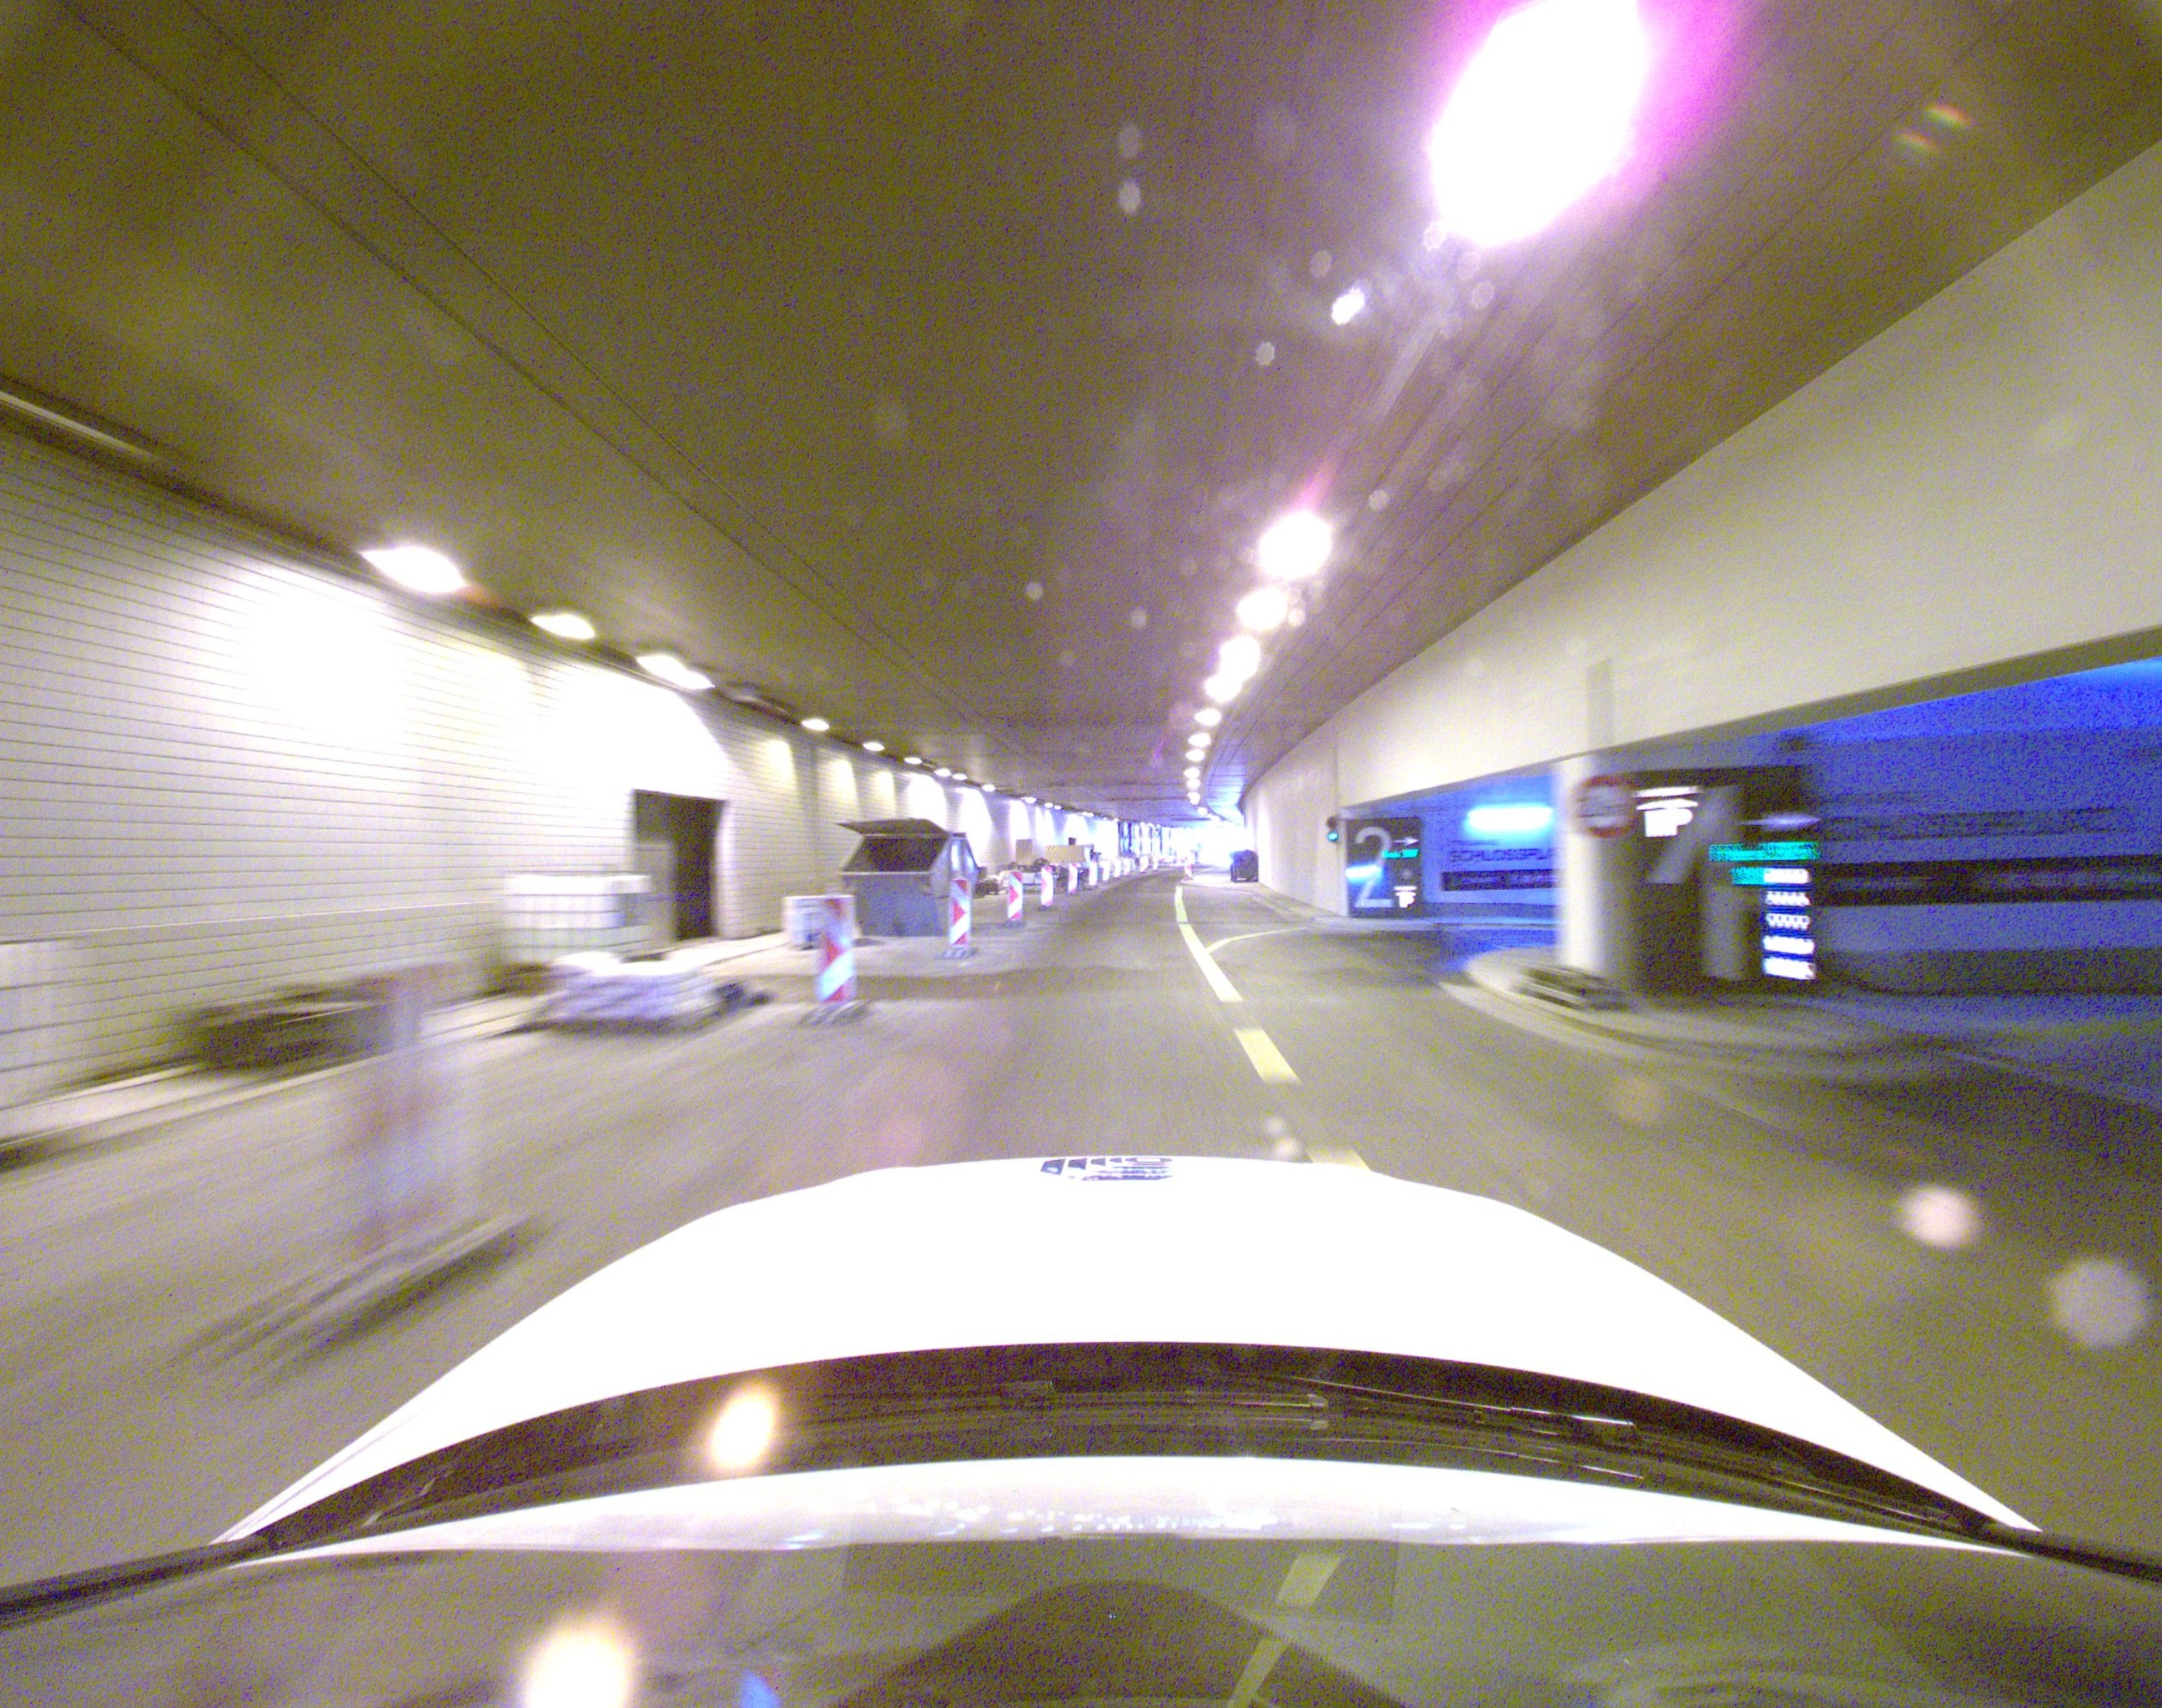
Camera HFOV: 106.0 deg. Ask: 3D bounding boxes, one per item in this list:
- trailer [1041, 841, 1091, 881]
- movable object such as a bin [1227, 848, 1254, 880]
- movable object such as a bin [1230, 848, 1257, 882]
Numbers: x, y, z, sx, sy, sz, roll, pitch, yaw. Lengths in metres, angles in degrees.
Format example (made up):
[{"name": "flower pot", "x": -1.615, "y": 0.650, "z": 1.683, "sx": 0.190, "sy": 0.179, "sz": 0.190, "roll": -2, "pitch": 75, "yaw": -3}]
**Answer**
[{"name": "trailer", "x": -0.742, "y": 0.383, "z": 43.166, "sx": 2.197, "sy": 2.014, "sz": 3.472, "roll": -1, "pitch": -1, "yaw": 6}, {"name": "movable object such as a bin", "x": 7.294, "y": 0.466, "z": 37.320, "sx": 1.139, "sy": 1.445, "sz": 1.366, "roll": -1, "pitch": -1, "yaw": 7}, {"name": "movable object such as a bin", "x": 7.146, "y": 0.469, "z": 35.907, "sx": 1.091, "sy": 1.445, "sz": 1.325, "roll": -1, "pitch": -1, "yaw": 7}]
